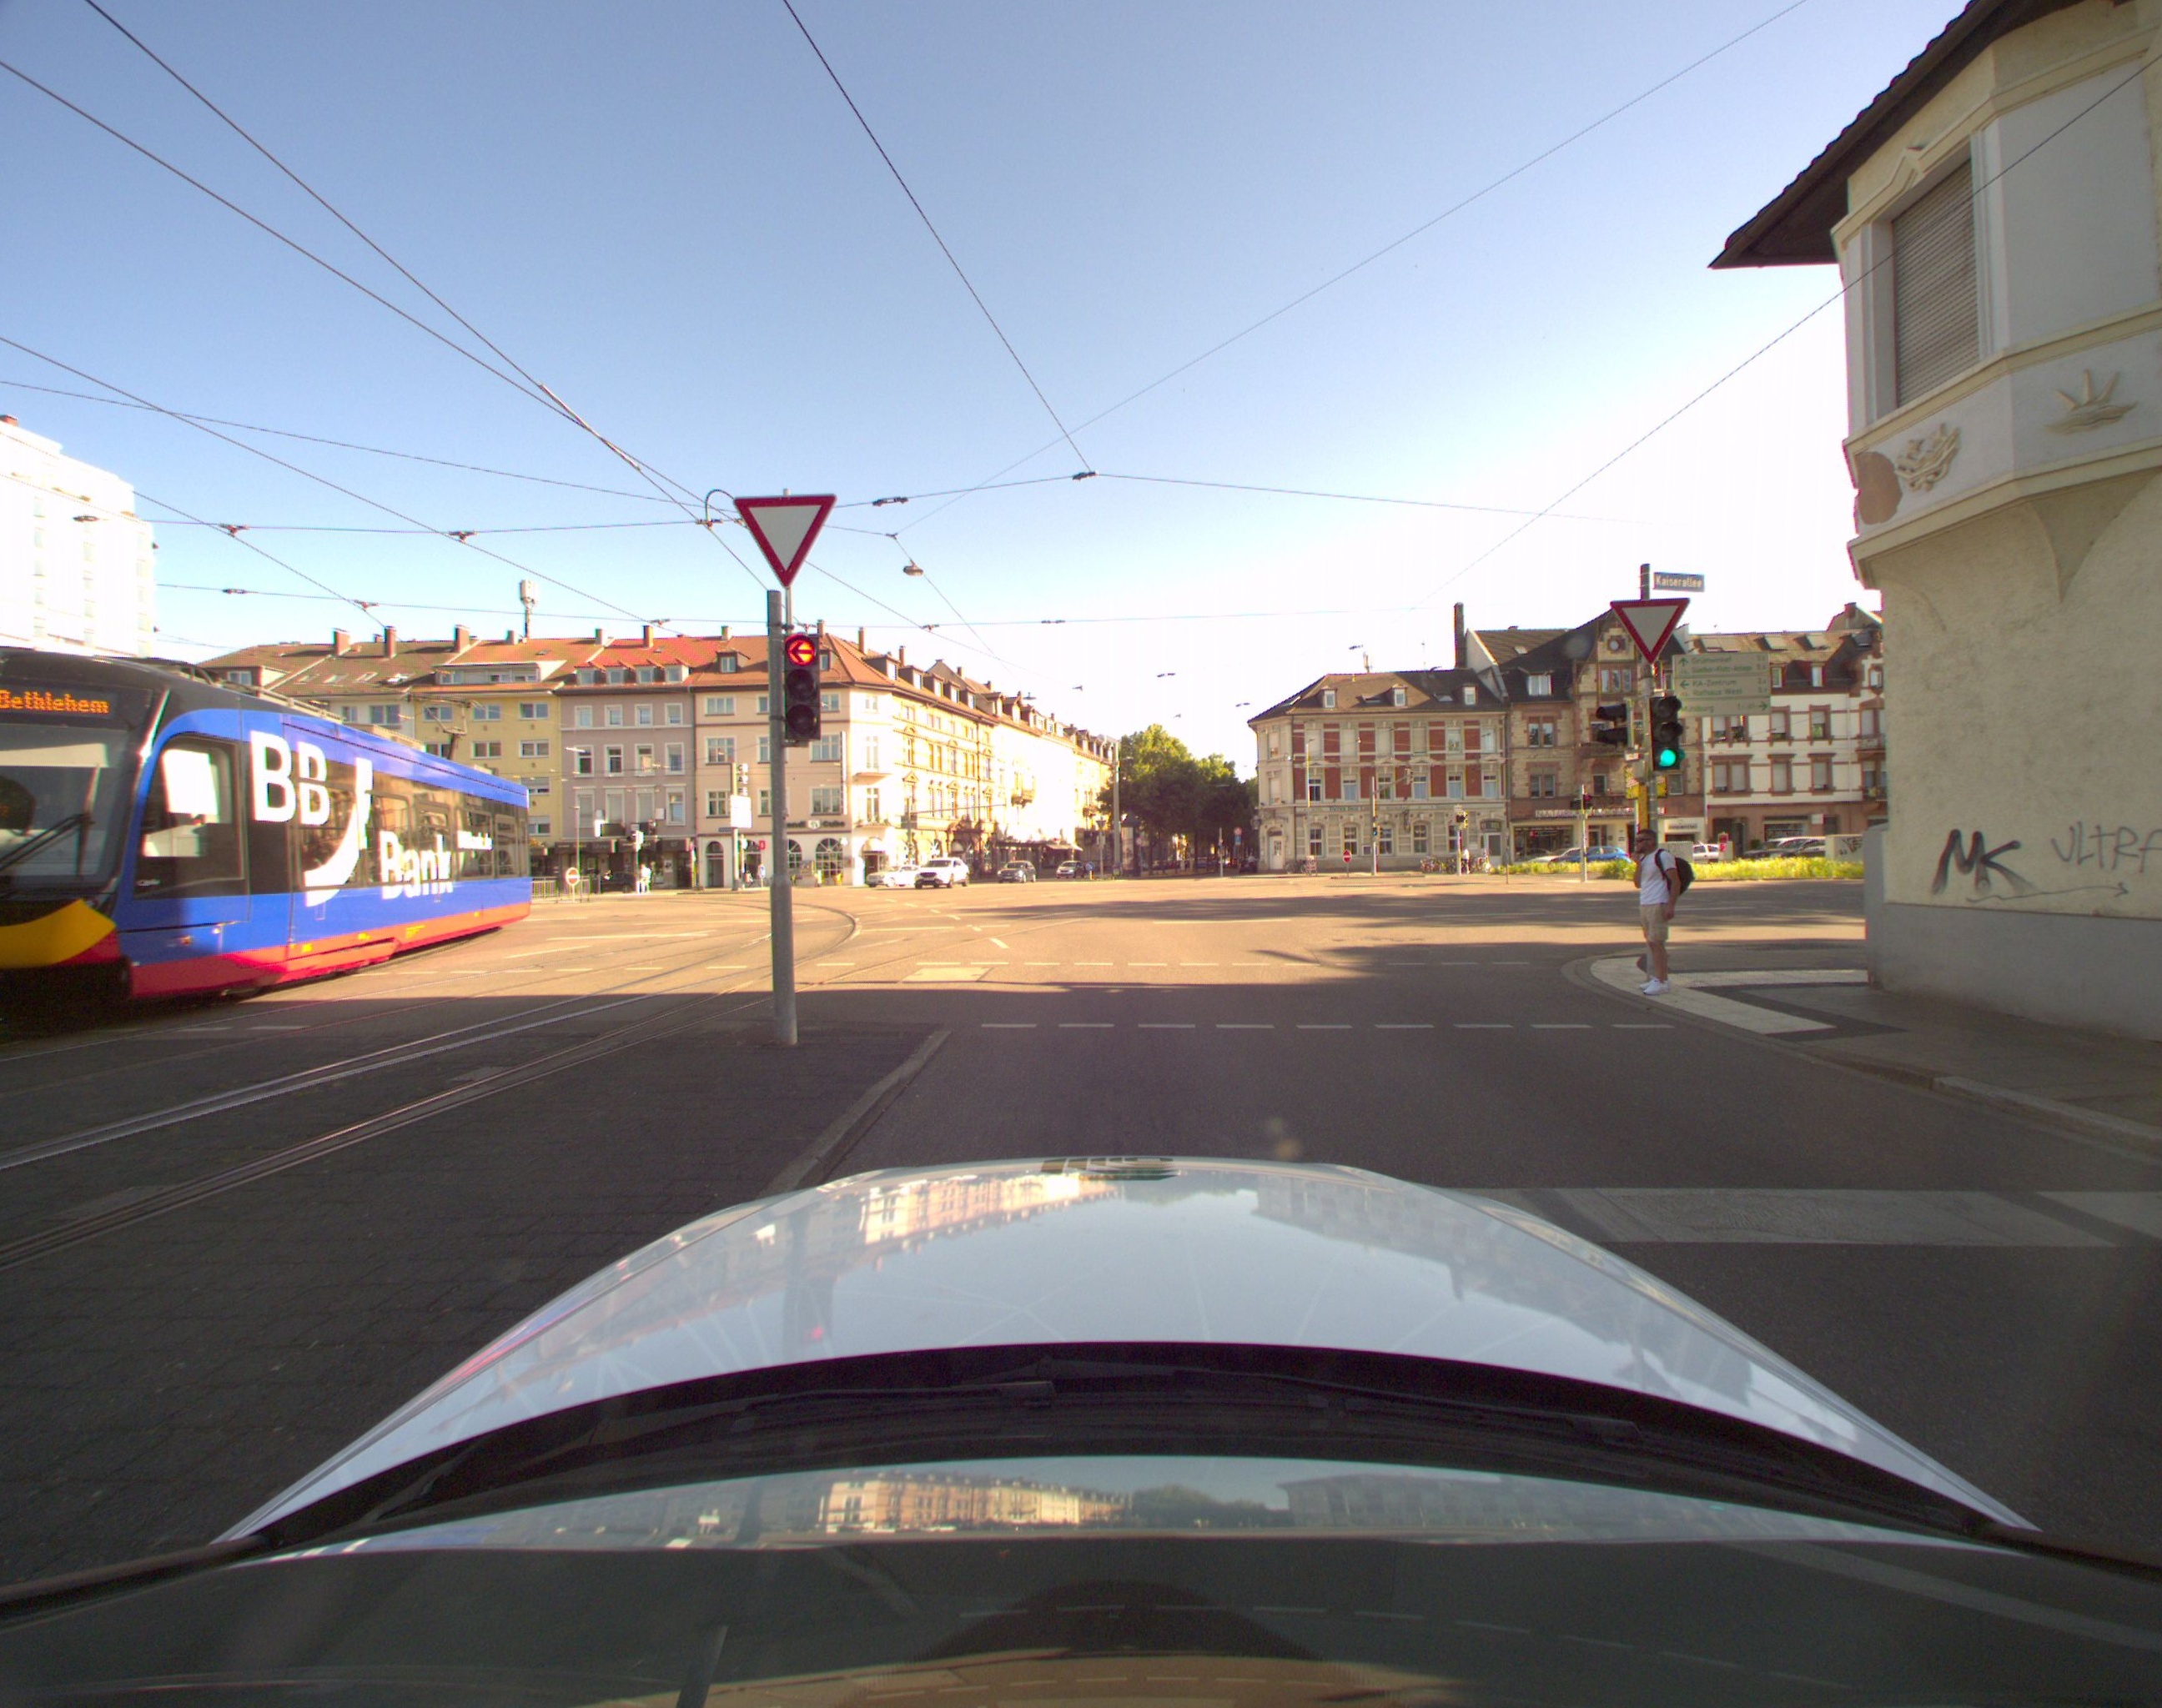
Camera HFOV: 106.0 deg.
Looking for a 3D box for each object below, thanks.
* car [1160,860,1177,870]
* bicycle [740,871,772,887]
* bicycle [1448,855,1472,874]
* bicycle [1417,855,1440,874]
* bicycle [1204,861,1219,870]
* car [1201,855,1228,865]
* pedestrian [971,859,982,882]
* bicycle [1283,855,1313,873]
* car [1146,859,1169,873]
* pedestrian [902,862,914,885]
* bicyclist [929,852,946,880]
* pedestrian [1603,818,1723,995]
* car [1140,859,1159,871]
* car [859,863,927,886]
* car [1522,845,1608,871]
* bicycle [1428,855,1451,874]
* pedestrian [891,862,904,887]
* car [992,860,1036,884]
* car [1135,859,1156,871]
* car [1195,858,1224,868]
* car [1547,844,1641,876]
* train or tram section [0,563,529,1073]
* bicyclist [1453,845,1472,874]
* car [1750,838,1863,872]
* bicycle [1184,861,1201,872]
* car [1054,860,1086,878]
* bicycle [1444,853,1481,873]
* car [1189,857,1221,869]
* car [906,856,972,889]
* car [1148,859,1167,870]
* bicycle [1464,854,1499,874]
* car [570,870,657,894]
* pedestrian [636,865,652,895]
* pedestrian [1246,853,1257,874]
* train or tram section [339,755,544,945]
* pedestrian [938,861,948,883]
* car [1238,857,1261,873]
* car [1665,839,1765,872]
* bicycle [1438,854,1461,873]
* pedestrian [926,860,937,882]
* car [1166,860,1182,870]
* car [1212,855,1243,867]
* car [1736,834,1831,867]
[{"bbox_3d":[14.202,1.774,131.663,1.978,1.497,4.051,-2,0,16],"label":"car"},{"bbox_3d":[-22.802,1.732,57.182,1.940,1.067,0.582,-1,0,-6],"label":"bicycle"},{"bbox_3d":[24.525,0.688,52.746,0.674,1.191,1.969,-1,0,3],"label":"bicycle"},{"bbox_3d":[22.500,0.638,52.776,0.674,1.191,1.969,-1,0,3],"label":"bicycle"},{"bbox_3d":[15.878,1.353,99.048,0.586,1.067,1.928,-1,0,-34],"label":"bicycle"},{"bbox_3d":[21.965,0.926,134.088,3.949,1.545,2.012,-2,0,30],"label":"car"},{"bbox_3d":[-8.988,1.433,70.291,0.676,1.908,0.636,-2,0,18],"label":"pedestrian"},{"bbox_3d":[15.192,0.711,56.970,1.950,1.191,0.547,-2,0,6],"label":"bicycle"},{"bbox_3d":[9.181,1.424,97.304,1.978,1.497,4.051,-2,0,16],"label":"car"},{"bbox_3d":[-12.247,1.368,57.652,0.626,1.642,0.554,-2,0,15],"label":"pedestrian"},{"bbox_3d":[-8.285,0.701,46.987,0.717,1.559,0.979,-1,0,-22],"label":"bicyclist"},{"bbox_3d":[6.120,0.529,8.573,0.691,1.740,0.668,-4,-1,-28],"label":"pedestrian"},{"bbox_3d":[9.910,1.580,117.314,1.978,1.497,4.051,-2,0,16],"label":"car"},{"bbox_3d":[-11.961,1.285,52.016,1.975,1.355,4.247,-2,0,26],"label":"car"},{"bbox_3d":[28.512,0.251,48.032,3.973,1.412,1.846,-2,0,1],"label":"car"},{"bbox_3d":[23.202,0.648,52.785,0.674,1.191,1.969,-1,0,3],"label":"bicycle"},{"bbox_3d":[-12.705,1.417,56.399,0.670,1.642,0.581,-2,0,15],"label":"pedestrian"},{"bbox_3d":[-4.388,1.174,54.418,1.763,1.497,4.586,-2,0,10],"label":"car"},{"bbox_3d":[8.939,1.550,112.848,1.978,1.497,4.051,-2,0,16],"label":"car"},{"bbox_3d":[20.208,1.440,128.019,3.949,1.545,2.012,-2,0,30],"label":"car"},{"bbox_3d":[28.320,0.329,45.038,3.973,1.668,1.955,-2,0,1],"label":"car"},{"bbox_3d":[-10.960,-0.166,10.924,3.066,3.613,12.030,-1,0,-21],"label":"train or tram section"},{"bbox_3d":[23.633,0.326,50.488,0.869,1.764,0.602,-2,0,4],"label":"bicyclist"},{"bbox_3d":[39.758,0.052,44.709,4.456,1.668,1.955,-2,0,1],"label":"car"},{"bbox_3d":[11.337,1.279,82.655,0.586,1.067,1.928,-1,0,-34],"label":"bicycle"},{"bbox_3d":[-0.930,1.276,70.583,1.705,1.497,3.599,-2,0,16],"label":"car"},{"bbox_3d":[23.641,0.576,50.491,1.952,1.191,0.602,-2,0,4],"label":"bicycle"},{"bbox_3d":[17.535,1.251,115.437,3.949,1.545,2.012,-2,0,30],"label":"car"},{"bbox_3d":[-6.996,0.889,40.502,1.983,1.497,4.356,-2,0,7],"label":"car"},{"bbox_3d":[11.527,1.613,122.514,1.978,1.497,4.051,-2,0,16],"label":"car"},{"bbox_3d":[25.747,0.631,52.318,1.961,1.191,0.677,-1,0,-10],"label":"bicycle"},{"bbox_3d":[-30.698,1.835,53.543,4.626,1.440,1.743,-1,-1,-1],"label":"car"},{"bbox_3d":[-24.557,1.459,45.756,0.728,1.627,0.666,-1,0,-24],"label":"pedestrian"},{"bbox_3d":[13.358,0.731,63.835,0.710,1.669,0.943,-2,0,14],"label":"pedestrian"},{"bbox_3d":[-16.135,-0.010,21.513,3.077,3.613,12.372,-1,0,-33],"label":"train or tram section"},{"bbox_3d":[-10.769,1.409,63.438,0.546,1.642,0.540,-2,0,23],"label":"pedestrian"},{"bbox_3d":[17.020,1.142,82.176,1.978,1.497,4.051,-2,0,16],"label":"car"},{"bbox_3d":[34.808,0.082,44.773,3.973,1.668,1.955,-2,0,1],"label":"car"},{"bbox_3d":[23.850,0.615,52.770,0.674,1.191,1.969,-1,0,3],"label":"bicycle"},{"bbox_3d":[-11.625,1.296,63.141,0.546,1.642,0.636,-2,0,19],"label":"pedestrian"},{"bbox_3d":[15.567,1.876,136.358,1.978,1.497,4.051,-2,0,16],"label":"car"},{"bbox_3d":[20.882,1.002,116.166,3.948,1.545,2.013,-2,0,32],"label":"car"},{"bbox_3d":[45.238,-0.201,52.506,4.388,1.965,1.955,-2,0,1],"label":"car"}]
